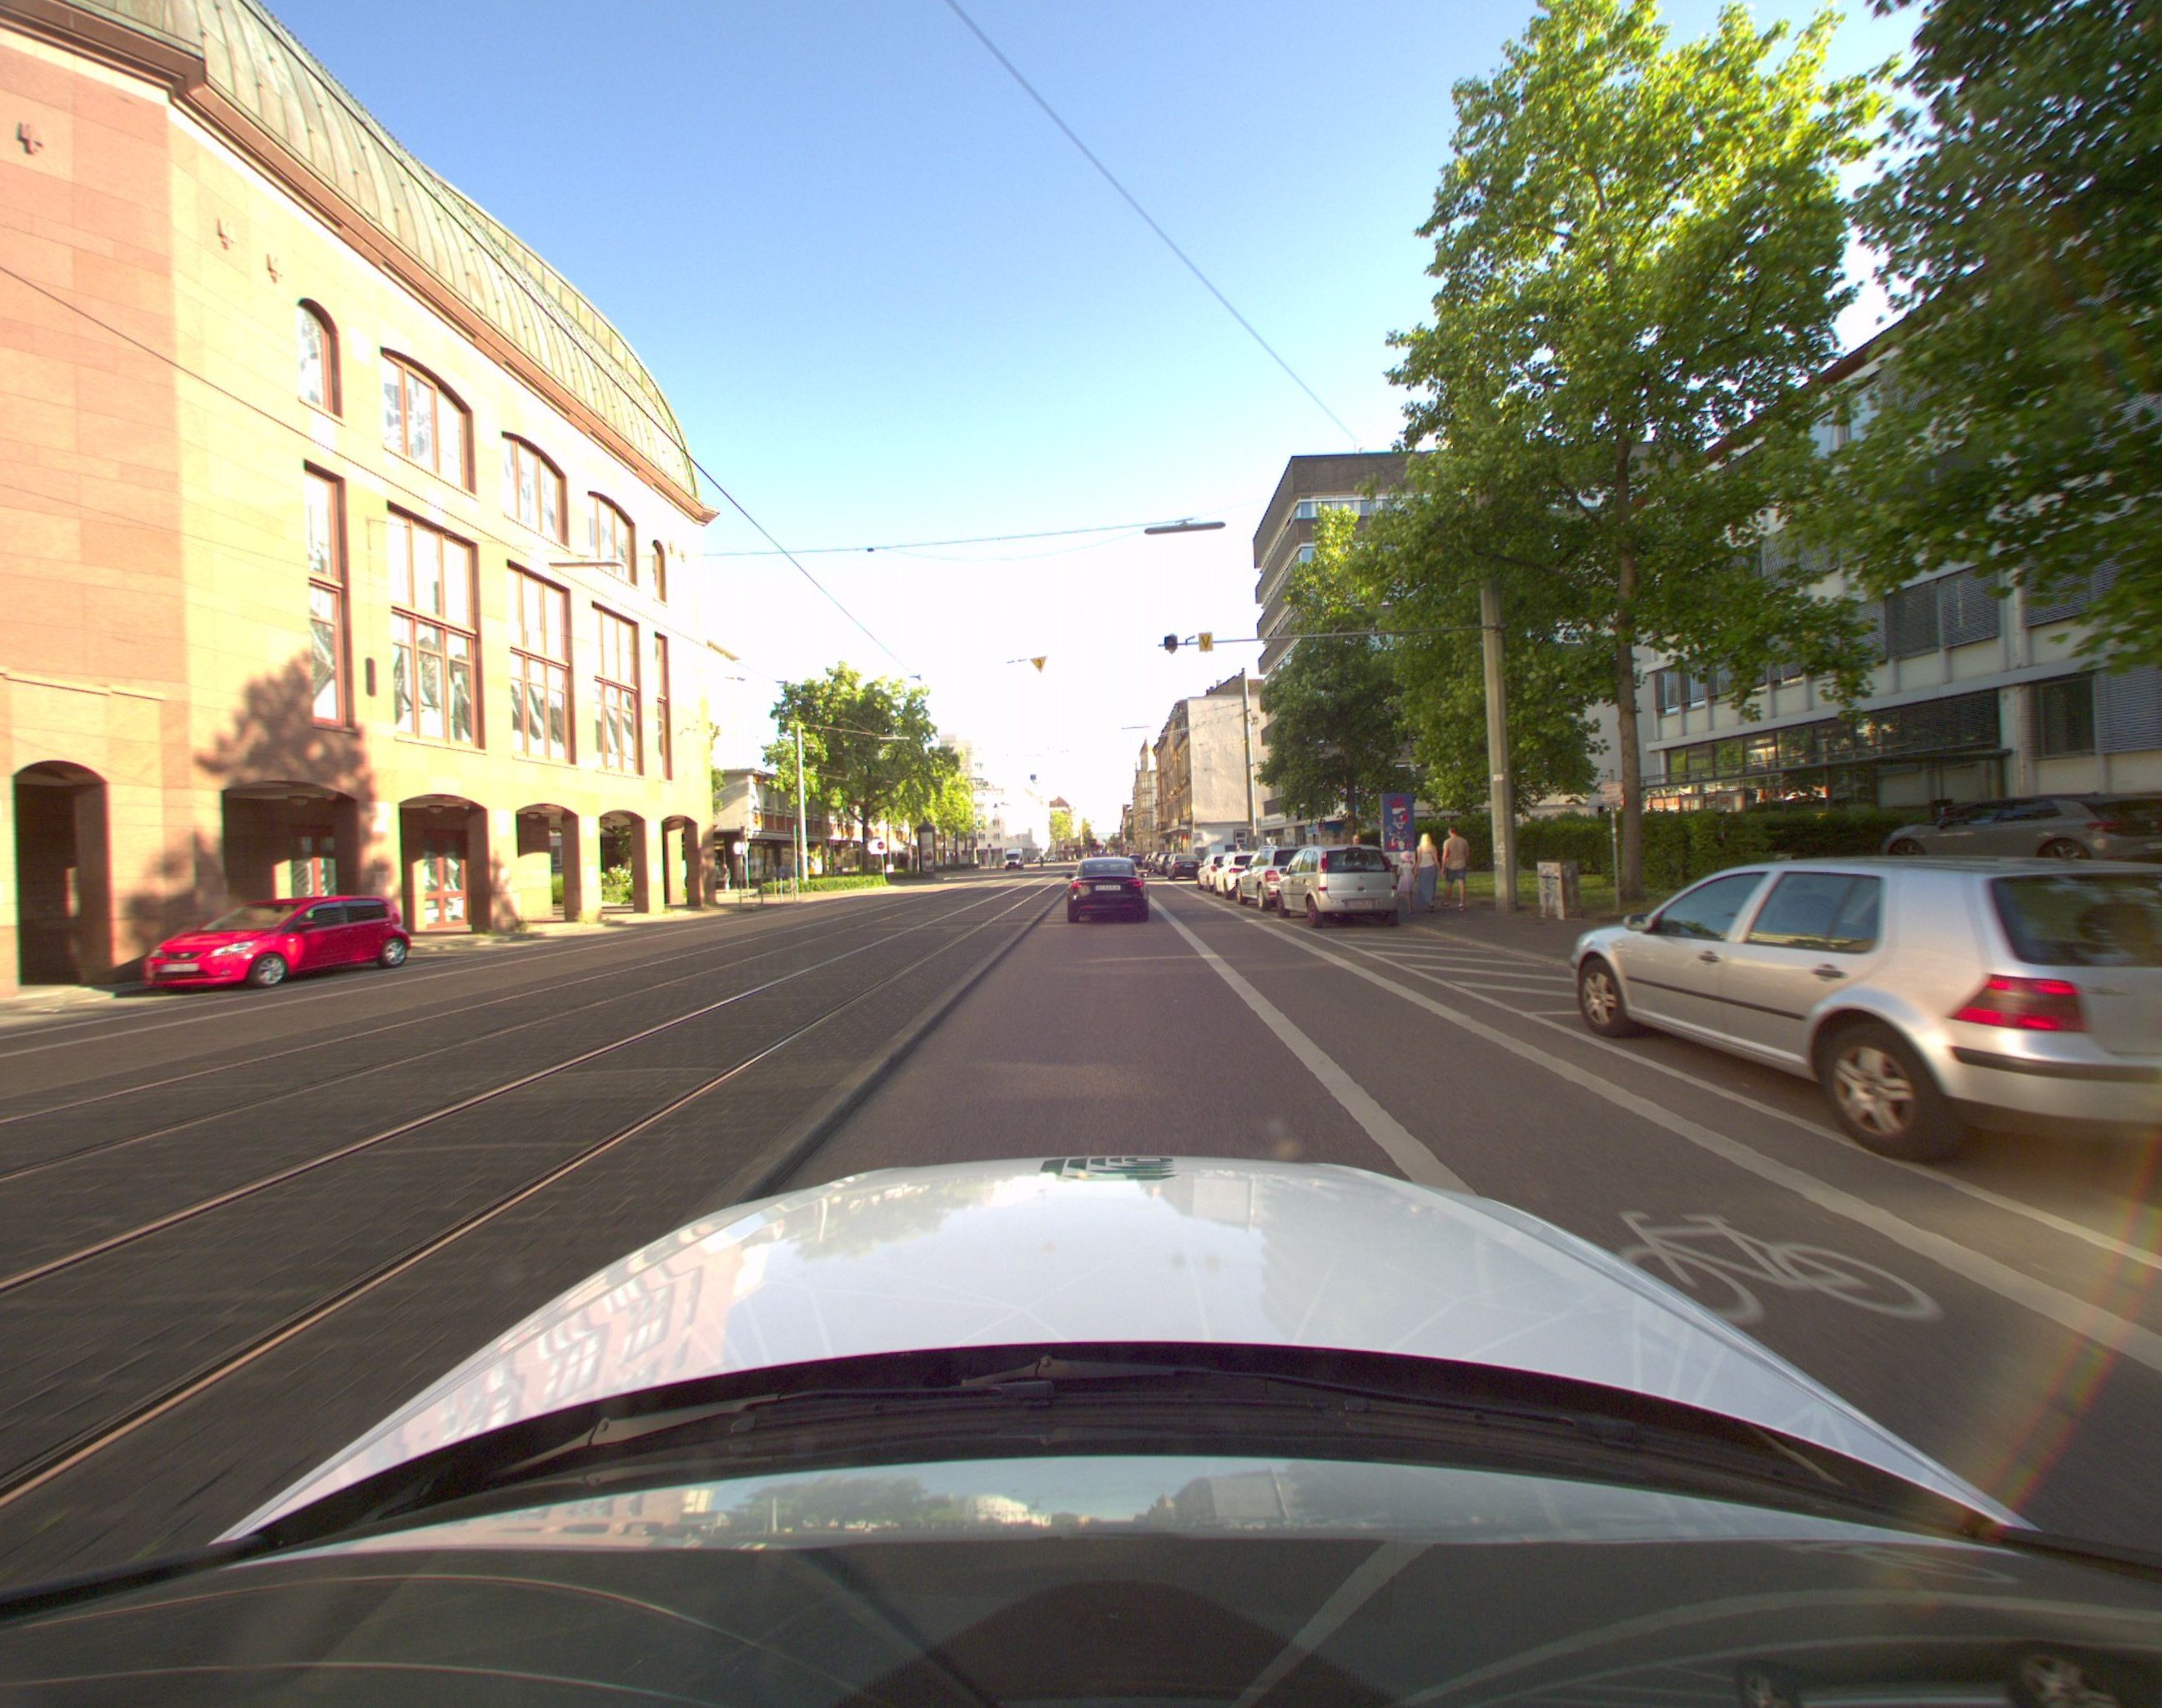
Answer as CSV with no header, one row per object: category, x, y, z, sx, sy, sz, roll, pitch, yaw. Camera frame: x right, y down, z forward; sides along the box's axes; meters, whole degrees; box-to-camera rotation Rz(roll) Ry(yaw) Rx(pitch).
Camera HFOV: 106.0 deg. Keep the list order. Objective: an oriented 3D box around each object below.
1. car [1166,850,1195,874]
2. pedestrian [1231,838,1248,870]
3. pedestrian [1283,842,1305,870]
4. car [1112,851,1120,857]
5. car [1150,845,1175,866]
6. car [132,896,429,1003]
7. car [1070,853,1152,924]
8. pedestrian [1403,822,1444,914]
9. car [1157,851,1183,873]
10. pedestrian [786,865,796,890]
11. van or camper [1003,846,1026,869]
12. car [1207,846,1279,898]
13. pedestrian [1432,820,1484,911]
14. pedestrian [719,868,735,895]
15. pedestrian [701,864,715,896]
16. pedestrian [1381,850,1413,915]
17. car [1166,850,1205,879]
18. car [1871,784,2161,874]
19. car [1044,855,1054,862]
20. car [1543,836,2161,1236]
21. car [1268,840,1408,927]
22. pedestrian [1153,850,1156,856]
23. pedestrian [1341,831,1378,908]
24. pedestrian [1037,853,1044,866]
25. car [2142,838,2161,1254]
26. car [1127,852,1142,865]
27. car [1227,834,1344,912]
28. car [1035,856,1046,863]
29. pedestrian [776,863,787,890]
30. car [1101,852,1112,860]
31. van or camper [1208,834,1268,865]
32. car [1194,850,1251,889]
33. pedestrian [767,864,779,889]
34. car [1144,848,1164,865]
car,6.376,0.519,52.524,1.572,1.447,3.311,-2,0,3
pedestrian,9.266,0.018,47.646,0.719,1.812,0.889,-3,0,1
pedestrian,14.166,0.139,54.248,1.143,1.728,1.050,-3,1,26
car,9.540,0.031,221.684,1.839,1.592,4.003,-4,1,2
car,6.818,0.115,68.216,1.822,1.628,4.098,-2,0,2
car,-14.070,1.591,14.648,1.653,1.422,3.621,-1,1,1
car,0.661,0.732,19.238,1.714,1.405,3.710,-2,1,1
pedestrian,7.607,0.302,18.100,0.462,1.953,0.749,-6,0,7
car,6.258,0.567,57.794,1.456,1.432,3.814,-2,0,1
pedestrian,-20.824,1.691,58.507,0.545,1.801,0.587,-1,1,-7
van or camper,-8.384,0.429,103.547,2.133,2.654,6.880,-3,0,0
car,5.398,0.554,27.628,1.537,1.570,4.443,-2,1,0
pedestrian,8.306,0.242,17.984,0.665,1.897,0.749,-6,0,7
pedestrian,-23.212,1.792,53.387,0.517,1.694,0.714,-4,1,25
pedestrian,-24.957,1.732,54.449,0.607,2.066,0.660,-2,1,-43
pedestrian,7.061,0.626,18.190,0.453,1.398,0.423,-5,0,6
car,5.883,0.571,46.401,1.704,1.457,4.552,-3,0,1
car,19.045,-0.528,16.530,1.784,1.536,4.308,-3,2,-1
car,-8.044,1.143,204.413,1.986,1.495,4.002,-3,0,2
car,4.814,0.644,5.120,1.741,1.443,4.323,-2,1,6
car,5.306,0.524,17.370,1.708,1.590,4.065,-1,1,0
pedestrian,14.095,-0.191,156.315,0.439,1.221,0.389,-3,0,0
pedestrian,6.706,0.365,19.620,0.608,1.808,0.603,-4,0,6
pedestrian,-5.580,0.735,112.725,0.839,1.695,0.798,-1,1,9
car,4.612,0.666,0.703,1.797,1.435,4.323,0,0,0
car,6.347,0.498,96.834,1.587,1.433,3.689,-3,0,2
car,5.410,0.439,22.210,1.919,1.834,4.710,-2,1,-1
car,-9.007,1.240,179.578,1.986,1.368,4.002,-3,0,2
pedestrian,-21.469,1.612,58.322,0.590,1.872,0.537,-1,1,-8
car,5.273,0.411,171.015,1.989,1.525,3.996,-2,0,-3
van or camper,13.174,-0.394,68.599,4.621,2.136,1.990,-6,0,5
car,5.675,0.591,33.081,1.597,1.443,3.883,-1,0,-1
pedestrian,-23.069,1.667,60.963,0.624,1.847,0.673,-1,1,-1
car,7.074,0.246,78.990,1.708,1.472,3.722,-3,0,2
